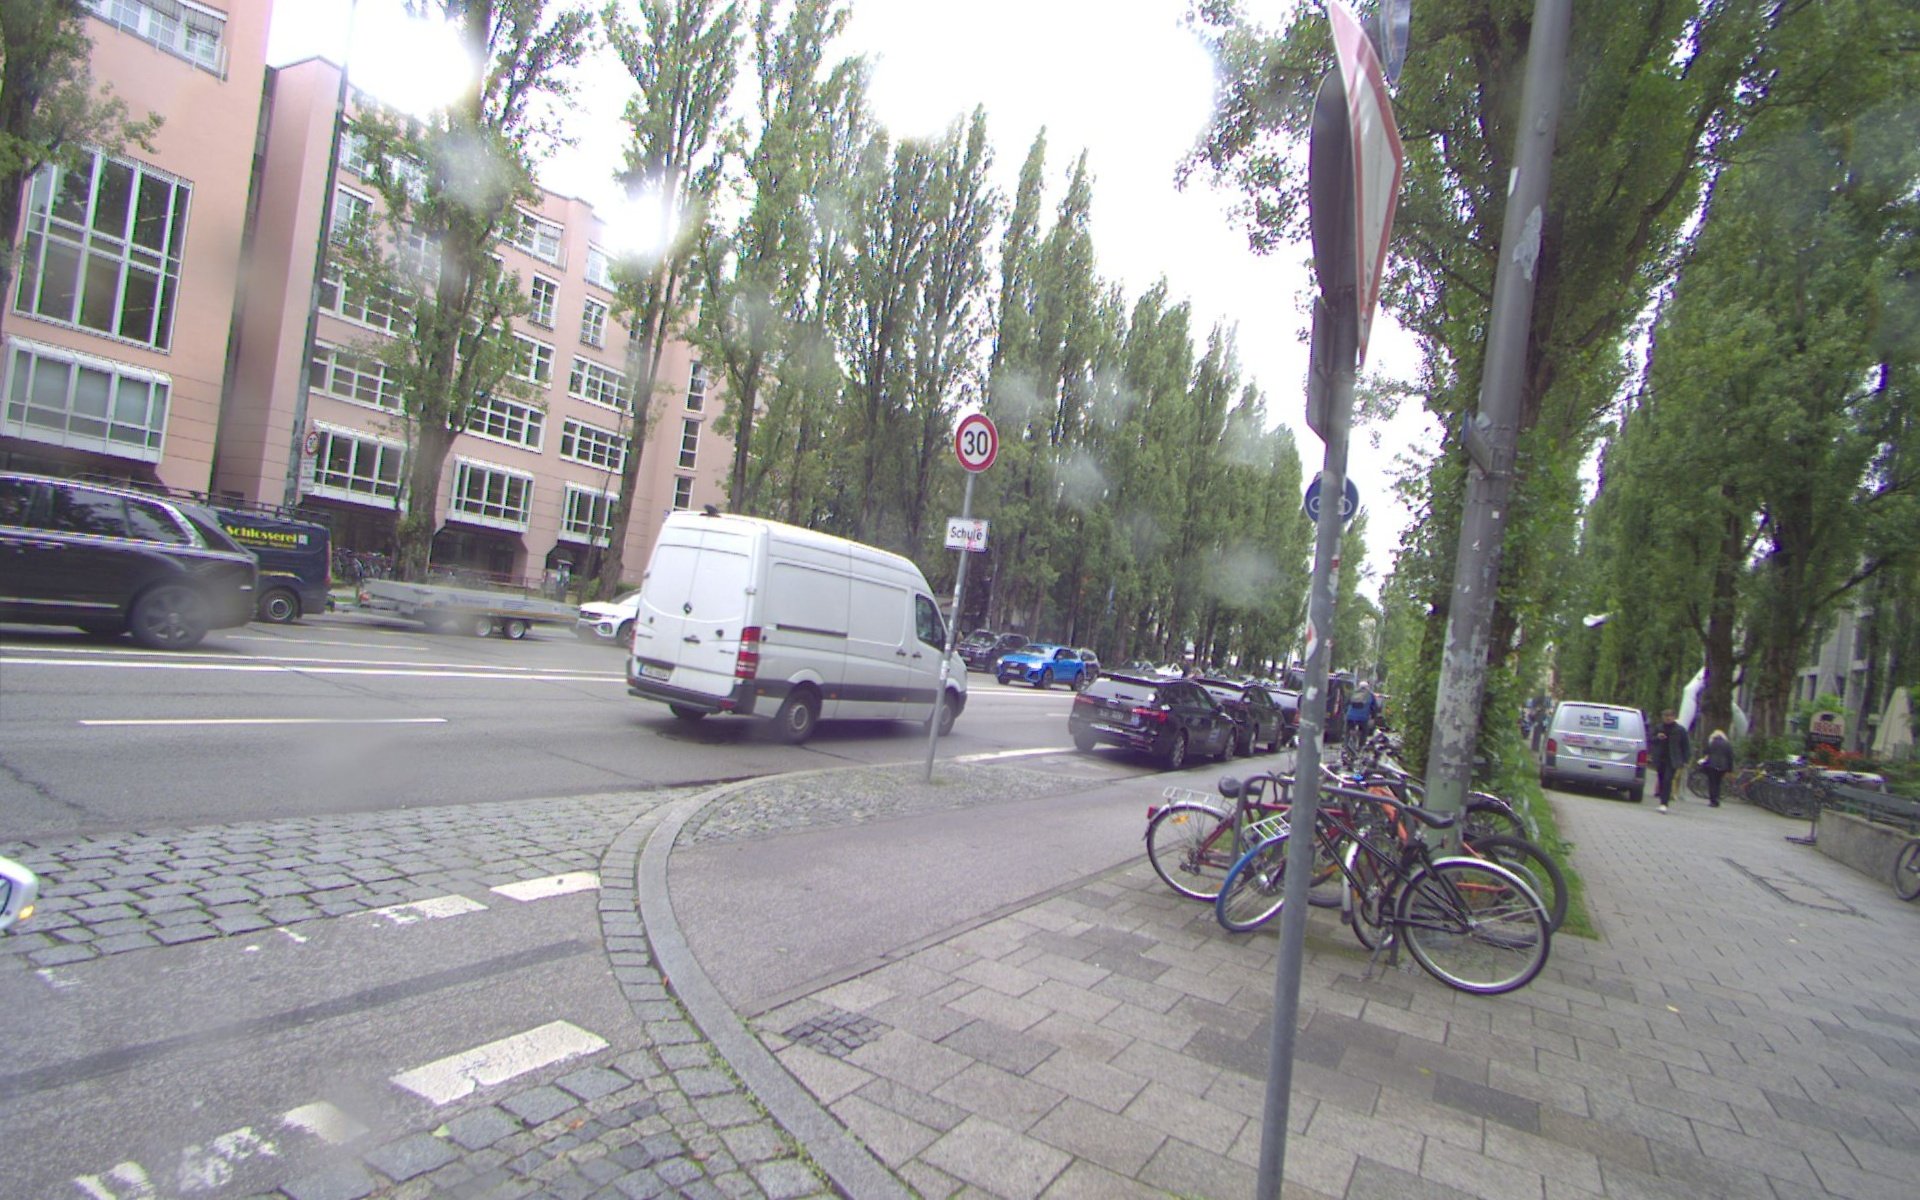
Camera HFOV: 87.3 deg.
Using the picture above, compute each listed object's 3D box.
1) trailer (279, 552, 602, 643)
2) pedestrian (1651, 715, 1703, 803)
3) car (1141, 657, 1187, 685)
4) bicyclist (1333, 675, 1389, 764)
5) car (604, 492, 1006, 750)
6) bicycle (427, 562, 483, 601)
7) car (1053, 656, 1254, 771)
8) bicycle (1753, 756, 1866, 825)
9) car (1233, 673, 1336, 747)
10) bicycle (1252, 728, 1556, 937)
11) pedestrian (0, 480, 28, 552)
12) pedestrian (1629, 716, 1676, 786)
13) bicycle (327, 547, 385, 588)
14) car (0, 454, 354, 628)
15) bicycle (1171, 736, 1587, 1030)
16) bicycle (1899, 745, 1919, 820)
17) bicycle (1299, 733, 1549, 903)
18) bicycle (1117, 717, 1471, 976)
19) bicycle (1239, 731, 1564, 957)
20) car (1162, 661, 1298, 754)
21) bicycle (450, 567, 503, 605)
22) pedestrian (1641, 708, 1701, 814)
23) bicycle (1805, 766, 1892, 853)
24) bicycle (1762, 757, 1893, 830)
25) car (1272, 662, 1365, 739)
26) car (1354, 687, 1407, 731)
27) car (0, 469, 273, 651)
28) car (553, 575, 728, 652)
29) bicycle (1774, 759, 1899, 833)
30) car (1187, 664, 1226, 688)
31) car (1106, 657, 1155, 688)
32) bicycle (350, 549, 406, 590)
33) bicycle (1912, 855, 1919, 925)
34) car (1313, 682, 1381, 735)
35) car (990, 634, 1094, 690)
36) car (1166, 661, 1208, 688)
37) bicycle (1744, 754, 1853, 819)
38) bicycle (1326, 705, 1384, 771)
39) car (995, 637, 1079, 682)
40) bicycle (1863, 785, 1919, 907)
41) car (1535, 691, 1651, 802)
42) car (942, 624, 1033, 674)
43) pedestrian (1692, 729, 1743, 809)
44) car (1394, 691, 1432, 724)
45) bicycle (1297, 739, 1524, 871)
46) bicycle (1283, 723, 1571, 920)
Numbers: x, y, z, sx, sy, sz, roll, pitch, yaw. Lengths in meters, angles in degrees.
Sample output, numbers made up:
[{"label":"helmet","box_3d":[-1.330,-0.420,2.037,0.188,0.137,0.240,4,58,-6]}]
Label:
[{"label":"trailer","box_3d":[-11.264,0.038,22.443,2.364,1.213,6.032,8,-1,30]},{"label":"pedestrian","box_3d":[16.229,3.585,22.790,0.738,1.824,0.841,8,-1,34]},{"label":"car","box_3d":[13.597,4.745,67.010,1.737,1.598,3.966,8,0,29]},{"label":"bicyclist","box_3d":[7.959,2.361,19.954,0.712,1.638,0.755,8,0,33]},{"label":"car","box_3d":[-1.766,0.437,14.181,2.011,2.683,6.035,9,0,29]},{"label":"bicycle","box_3d":[-18.285,-0.666,36.399,2.071,1.138,0.675,8,0,30]},{"label":"car","box_3d":[3.472,1.945,17.312,1.727,1.444,4.441,9,-1,33]},{"label":"bicycle","box_3d":[19.964,4.464,23.702,1.838,1.174,0.586,8,1,32]},{"label":"car","box_3d":[8.770,2.924,26.960,1.718,1.544,4.231,9,-1,29]},{"label":"bicycle","box_3d":[3.124,1.588,7.175,1.845,1.063,0.475,6,-1,31]},{"label":"pedestrian","box_3d":[-24.471,-2.170,25.657,0.720,1.734,0.708,7,0,32]},{"label":"pedestrian","box_3d":[20.453,4.444,29.731,0.904,1.888,1.012,8,-1,34]},{"label":"bicycle","box_3d":[-20.152,-1.085,33.558,1.955,1.138,0.675,8,0,30]},{"label":"car","box_3d":[-13.930,-0.929,17.383,1.989,2.223,5.492,8,-1,29]},{"label":"bicycle","box_3d":[2.142,1.412,5.324,1.842,1.063,0.476,7,0,24]},{"label":"bicycle","box_3d":[15.668,2.968,15.980,0.578,1.173,1.867,8,-1,30]},{"label":"bicycle","box_3d":[3.969,1.823,8.693,1.804,1.050,0.512,6,-1,35]},{"label":"bicycle","box_3d":[1.960,1.397,6.052,1.845,1.063,0.475,8,0,31]},{"label":"bicycle","box_3d":[2.903,1.556,6.725,1.845,1.063,0.475,6,-1,31]},{"label":"car","box_3d":[5.941,2.315,21.802,1.719,1.544,3.904,9,-1,30]},{"label":"bicycle","box_3d":[-17.888,-0.531,37.187,1.955,1.138,0.675,8,0,30]},{"label":"pedestrian","box_3d":[13.508,3.044,19.140,0.689,1.862,0.705,8,0,32]},{"label":"bicycle","box_3d":[14.837,3.460,16.846,0.578,1.173,1.982,8,-1,30]},{"label":"bicycle","box_3d":[19.055,4.232,22.165,1.998,1.173,0.587,7,-1,32]},{"label":"car","box_3d":[11.511,3.189,32.064,1.883,1.947,5.037,9,-1,28]},{"label":"car","box_3d":[19.084,4.906,45.595,1.718,1.609,3.949,9,-1,28]},{"label":"car","box_3d":[-10.782,-0.531,10.925,1.965,1.768,5.062,5,-3,27]},{"label":"car","box_3d":[-8.404,0.413,26.857,1.776,1.560,4.228,6,-2,31]},{"label":"bicycle","box_3d":[18.770,4.179,21.592,1.838,1.173,0.587,7,-1,32]},{"label":"car","box_3d":[18.874,5.812,77.020,1.737,1.598,3.966,8,0,29]},{"label":"car","box_3d":[10.545,4.467,62.075,1.914,1.598,3.607,8,0,25]},{"label":"bicycle","box_3d":[-19.797,-1.026,34.194,1.955,1.138,0.675,8,0,30]},{"label":"bicycle","box_3d":[9.243,2.477,9.187,0.579,1.173,1.862,7,-1,41]},{"label":"car","box_3d":[14.366,3.991,37.222,1.718,1.544,3.949,9,-1,28]},{"label":"car","box_3d":[2.971,2.230,35.576,1.840,1.597,4.418,6,-2,30]},{"label":"car","box_3d":[16.316,5.325,72.063,1.737,1.597,3.969,8,-1,29]},{"label":"bicycle","box_3d":[20.262,4.494,24.362,1.838,1.173,0.587,8,-1,32]},{"label":"bicycle","box_3d":[7.883,2.741,20.044,0.707,1.160,1.899,4,-4,31]},{"label":"car","box_3d":[3.587,2.768,46.213,1.966,1.662,4.546,6,-2,29]},{"label":"bicycle","box_3d":[10.573,2.713,10.777,0.577,1.173,1.870,8,-1,21]},{"label":"car","box_3d":[14.077,3.187,22.608,1.784,1.918,5.197,7,-2,30]},{"label":"car","box_3d":[1.301,2.243,45.290,1.965,1.818,4.758,8,-1,29]},{"label":"pedestrian","box_3d":[16.810,3.731,22.331,0.687,1.625,0.832,8,-1,34]},{"label":"car","box_3d":[27.825,6.583,61.703,1.718,1.662,3.949,9,-1,28]},{"label":"bicycle","box_3d":[4.172,1.868,9.395,1.804,0.827,0.471,6,-1,35]},{"label":"bicycle","box_3d":[3.628,1.678,7.926,1.898,1.118,0.513,7,-1,29]}]
